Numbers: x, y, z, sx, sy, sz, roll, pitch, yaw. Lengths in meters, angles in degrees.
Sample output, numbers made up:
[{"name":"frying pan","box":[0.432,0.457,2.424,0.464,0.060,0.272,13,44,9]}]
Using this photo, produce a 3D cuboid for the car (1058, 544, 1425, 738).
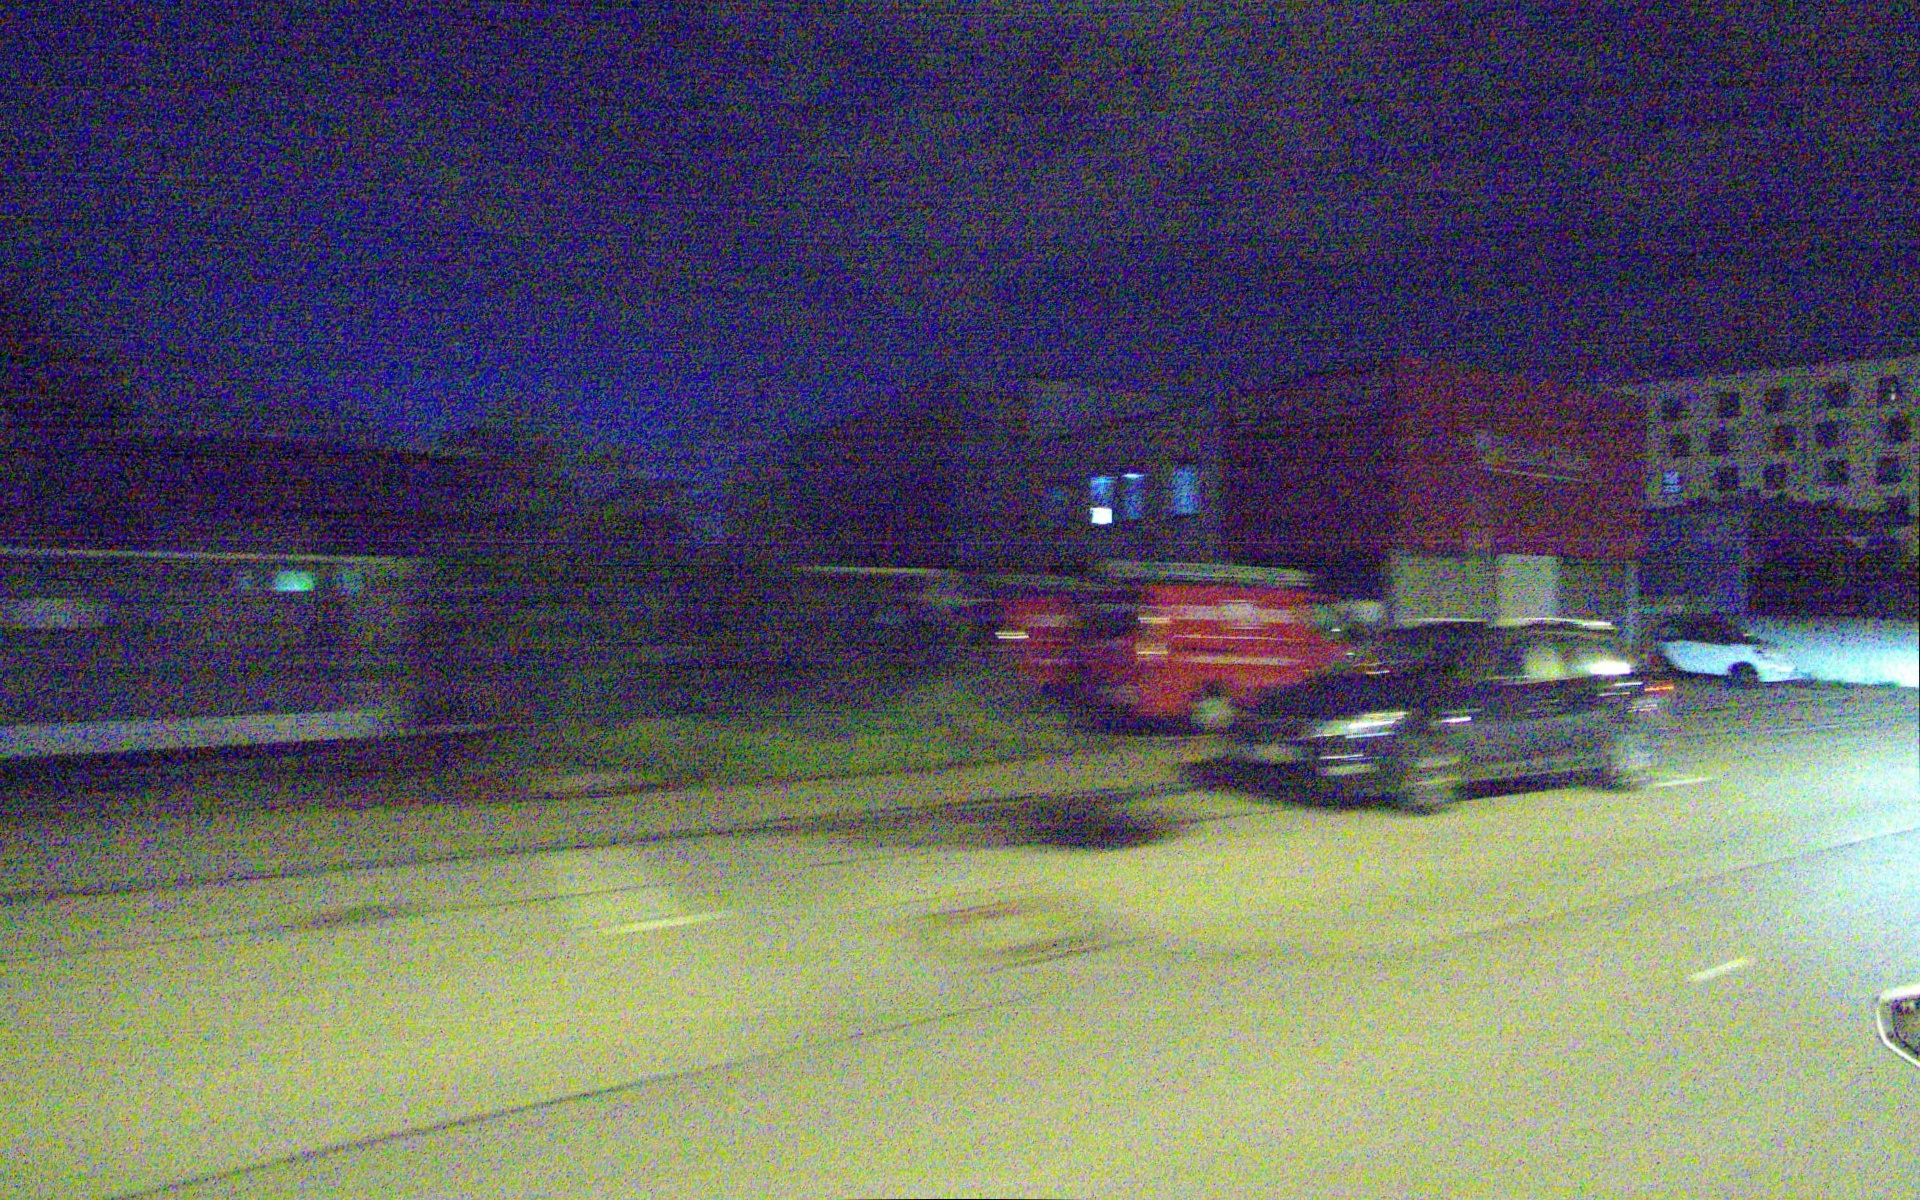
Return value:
[{"name":"car","box":[4.005,0.573,14.199,4.900,2.352,1.988,1,-3,-26]}]

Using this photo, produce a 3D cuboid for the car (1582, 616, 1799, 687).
[{"name":"car","box":[17.893,1.221,24.809,1.795,1.591,3.970,1,-2,-29]}]

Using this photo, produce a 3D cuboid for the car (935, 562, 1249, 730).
[{"name":"car","box":[2.111,0.704,16.059,4.562,2.352,2.201,1,-1,-26]}]

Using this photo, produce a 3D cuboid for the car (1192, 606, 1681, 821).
[{"name":"car","box":[4.328,0.871,9.025,4.266,1.546,1.749,1,-1,-27]}]
